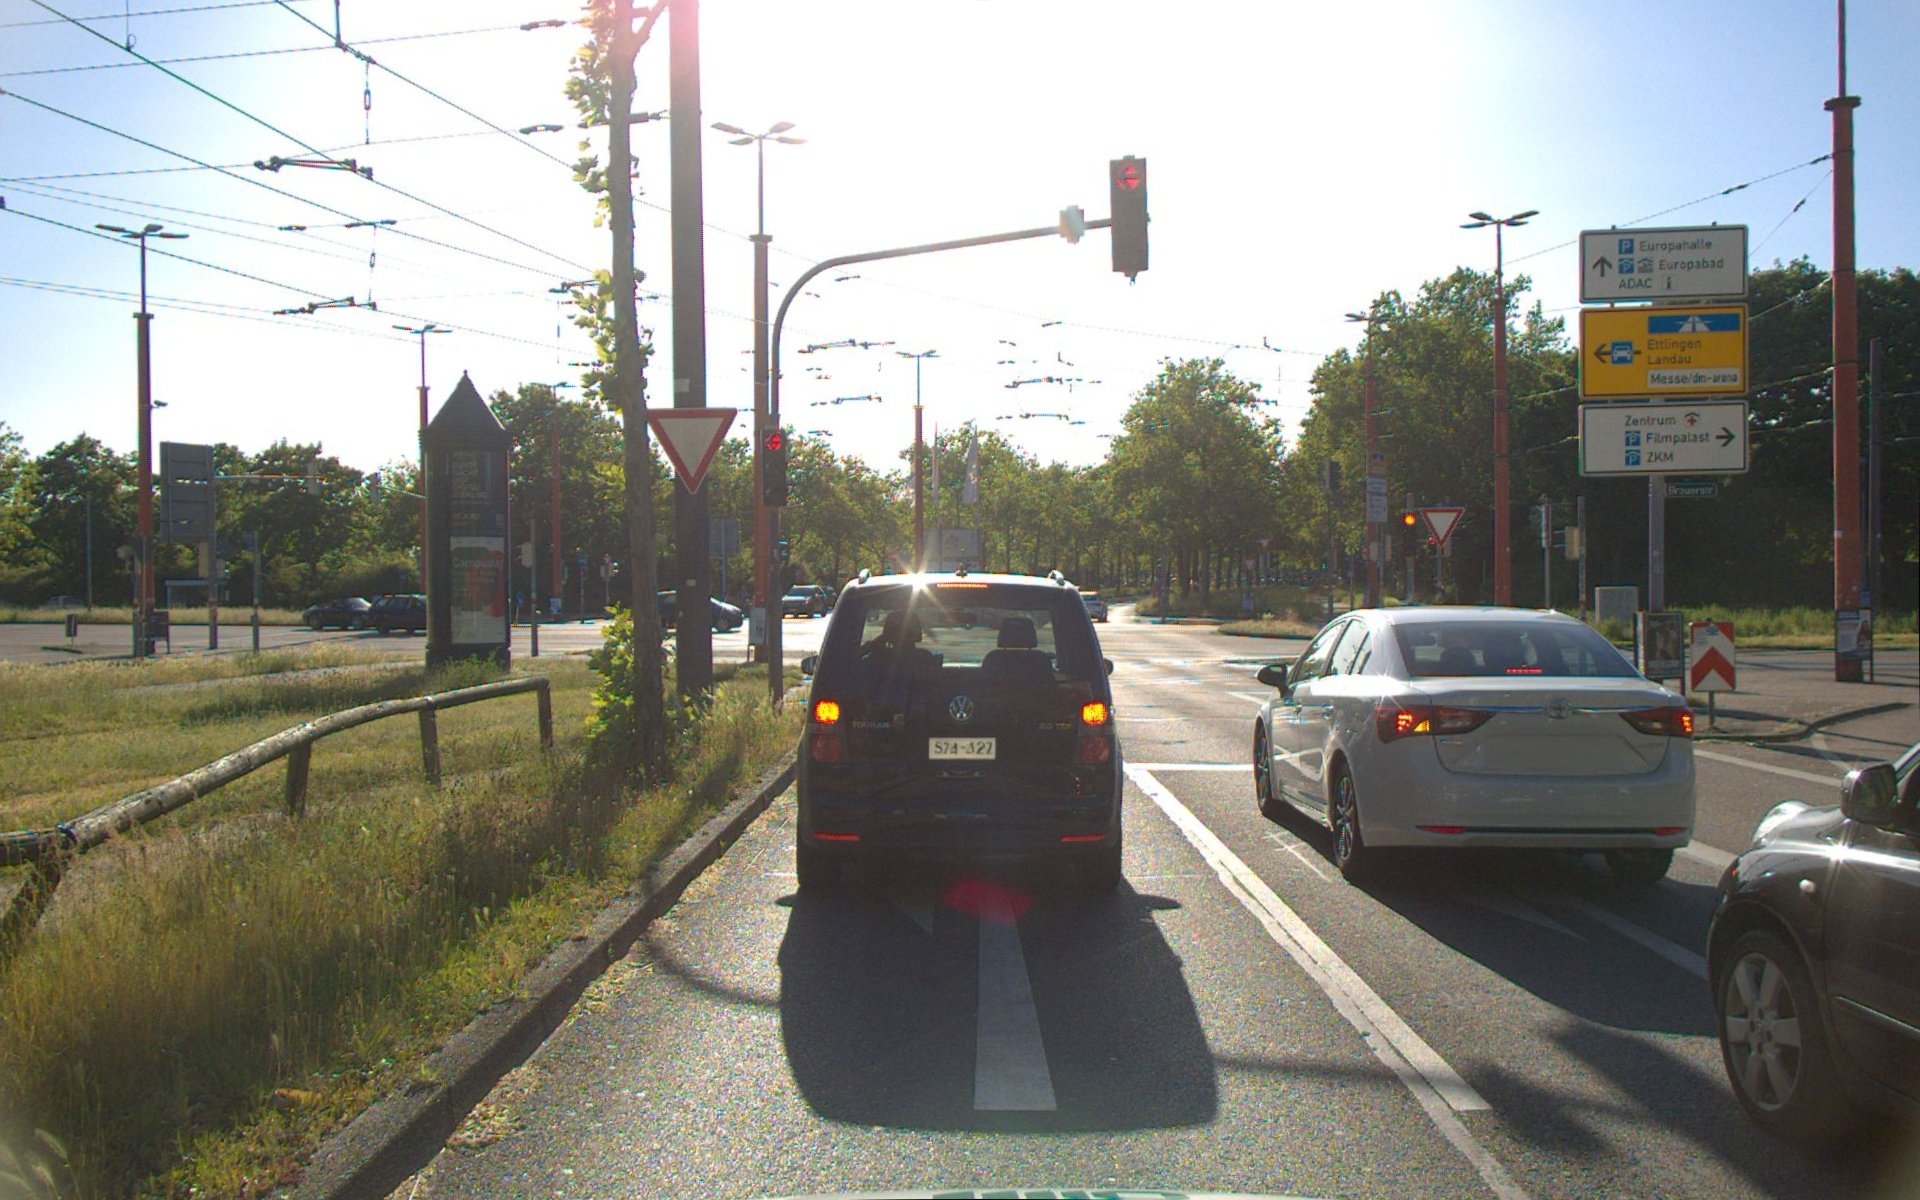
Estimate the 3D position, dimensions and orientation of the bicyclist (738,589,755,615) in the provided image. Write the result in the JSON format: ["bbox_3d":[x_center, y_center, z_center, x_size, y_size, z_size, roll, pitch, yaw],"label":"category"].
[{"bbox_3d":[-12.205,0.092,94.432,0.678,1.483,0.875,0,0,17],"label":"bicyclist"}]

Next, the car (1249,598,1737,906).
[{"bbox_3d":[2.948,0.737,10.102,1.679,1.480,4.144,0,0,0],"label":"car"}]

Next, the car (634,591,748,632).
[{"bbox_3d":[-10.014,0.415,61.741,3.960,1.489,1.914,0,0,-1],"label":"car"}]

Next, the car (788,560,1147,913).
[{"bbox_3d":[0.007,0.640,9.858,1.702,1.670,3.999,0,0,-1],"label":"car"}]

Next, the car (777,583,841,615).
[{"bbox_3d":[-8.476,-0.061,93.218,1.951,1.714,4.831,0,0,17],"label":"car"}]

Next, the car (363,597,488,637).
[{"bbox_3d":[-20.473,0.654,63.423,4.136,1.489,1.916,0,0,11],"label":"car"}]

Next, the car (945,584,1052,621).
[{"bbox_3d":[1.597,0.084,67.312,4.341,1.489,1.883,0,0,-44],"label":"car"}]

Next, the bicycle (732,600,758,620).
[{"bbox_3d":[-12.236,0.567,94.212,0.719,1.109,1.962,0,0,18],"label":"bicycle"}]

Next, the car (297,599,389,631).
[{"bbox_3d":[-25.836,0.617,69.261,3.734,1.333,1.738,0,0,32],"label":"car"}]

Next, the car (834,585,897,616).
[{"bbox_3d":[-5.216,0.024,91.599,1.951,1.714,4.831,0,0,17],"label":"car"}]

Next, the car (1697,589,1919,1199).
[{"bbox_3d":[3.128,0.739,3.503,1.525,1.532,3.515,0,0,-1],"label":"car"}]

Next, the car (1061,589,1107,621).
[{"bbox_3d":[6.000,0.223,79.601,1.867,1.489,4.226,0,0,9],"label":"car"}]
